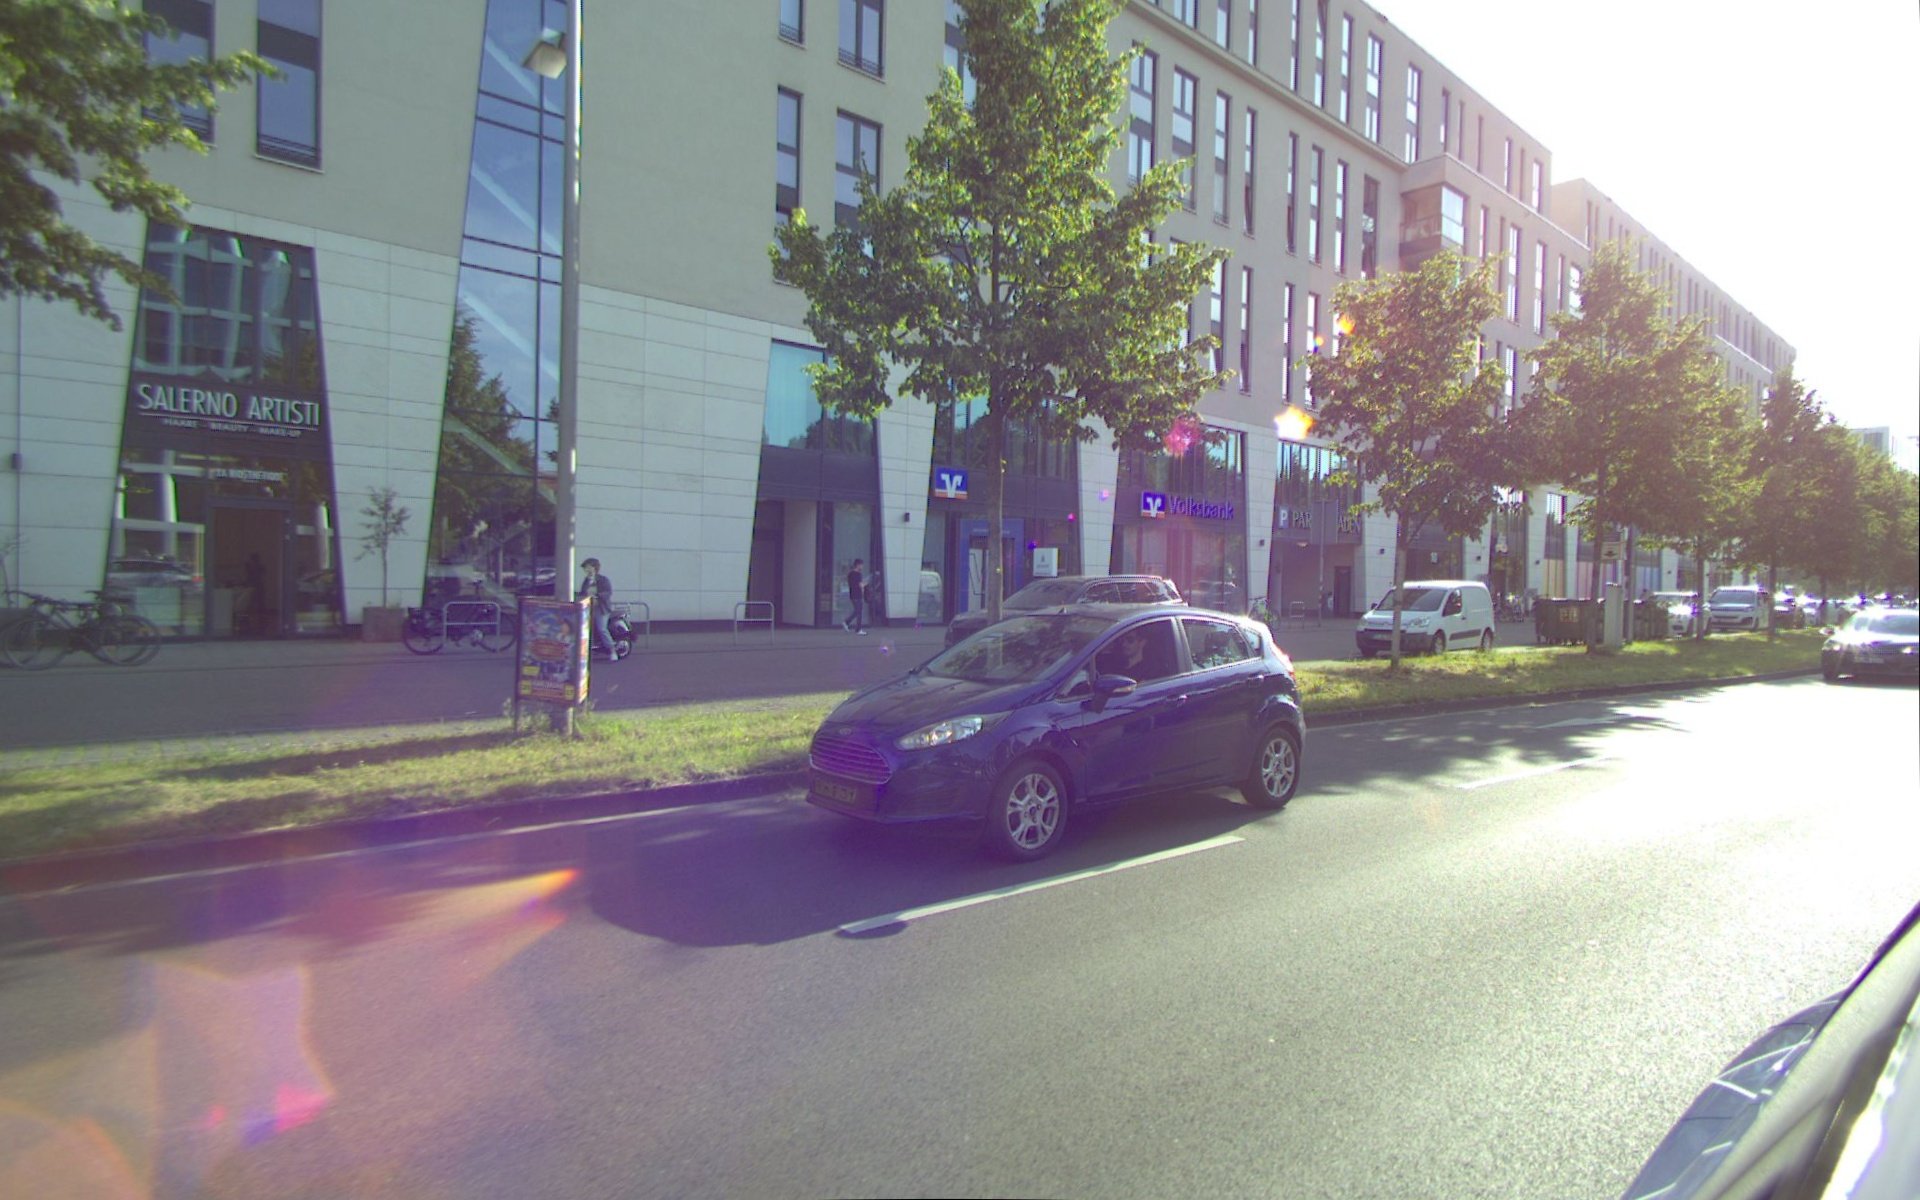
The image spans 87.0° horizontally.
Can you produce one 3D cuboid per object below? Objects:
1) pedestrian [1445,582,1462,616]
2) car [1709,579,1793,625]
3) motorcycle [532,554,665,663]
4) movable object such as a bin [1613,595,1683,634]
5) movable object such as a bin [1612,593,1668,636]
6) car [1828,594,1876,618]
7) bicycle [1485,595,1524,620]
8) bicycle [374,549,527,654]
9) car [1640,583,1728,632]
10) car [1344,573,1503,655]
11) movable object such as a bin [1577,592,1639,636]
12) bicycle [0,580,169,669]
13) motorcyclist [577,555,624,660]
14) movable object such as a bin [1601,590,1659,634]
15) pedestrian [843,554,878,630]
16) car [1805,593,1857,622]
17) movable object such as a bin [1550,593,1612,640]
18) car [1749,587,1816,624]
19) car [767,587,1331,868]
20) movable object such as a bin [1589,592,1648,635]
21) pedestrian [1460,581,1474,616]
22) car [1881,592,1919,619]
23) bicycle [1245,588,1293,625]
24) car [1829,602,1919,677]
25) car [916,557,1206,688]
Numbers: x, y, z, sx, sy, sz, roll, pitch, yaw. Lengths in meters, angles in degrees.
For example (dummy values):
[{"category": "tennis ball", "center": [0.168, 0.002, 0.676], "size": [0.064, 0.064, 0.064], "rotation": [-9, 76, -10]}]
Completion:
[{"category": "pedestrian", "center": [22.636, -0.069, 46.421], "size": [0.587, 1.541, 0.514], "rotation": [0, 0, -41]}, {"category": "car", "center": [34.377, 0.074, 43.940], "size": [4.941, 1.900, 1.841], "rotation": [-1, 0, -39]}, {"category": "motorcycle", "center": [-5.880, 0.093, 16.564], "size": [0.699, 1.636, 1.987], "rotation": [6, 5, 34]}, {"category": "movable object such as a bin", "center": [22.837, 0.466, 33.617], "size": [1.307, 1.252, 1.405], "rotation": [0, 0, -13]}, {"category": "movable object such as a bin", "center": [21.858, 0.448, 32.513], "size": [1.172, 1.318, 1.278], "rotation": [0, 0, -44]}, {"category": "car", "center": [55.585, 0.369, 63.042], "size": [4.043, 1.450, 1.731], "rotation": [-1, 0, -42]}, {"category": "bicycle", "center": [24.053, 0.320, 44.726], "size": [1.485, 1.088, 0.348], "rotation": [0, 0, 2]}, {"category": "bicycle", "center": [-8.336, 0.010, 16.638], "size": [2.173, 1.639, 0.556], "rotation": [-1, 0, -40]}, {"category": "car", "center": [26.778, 0.240, 37.392], "size": [4.769, 1.650, 1.732], "rotation": [0, 2, -43]}, {"category": "car", "center": [10.852, 0.276, 23.554], "size": [4.222, 1.733, 1.830], "rotation": [-1, 0, -42]}, {"category": "movable object such as a bin", "center": [19.028, 0.397, 29.717], "size": [1.172, 1.252, 1.278], "rotation": [0, 0, -44]}, {"category": "bicycle", "center": [-11.705, 0.299, 13.446], "size": [1.871, 1.097, 0.635], "rotation": [-1, 3, -40]}, {"category": "motorcyclist", "center": [-5.893, 0.108, 16.581], "size": [0.622, 1.660, 0.412], "rotation": [4, 3, 37]}, {"category": "movable object such as a bin", "center": [20.924, 0.361, 31.602], "size": [1.172, 1.334, 1.278], "rotation": [0, 0, -44]}, {"category": "pedestrian", "center": [-2.361, -0.191, 23.998], "size": [0.635, 1.785, 0.538], "rotation": [0, 0, -40]}, {"category": "car", "center": [44.521, 0.367, 51.710], "size": [4.098, 1.430, 1.617], "rotation": [-1, 0, -43]}, {"category": "movable object such as a bin", "center": [17.908, 0.462, 29.180], "size": [1.159, 1.307, 1.278], "rotation": [0, 0, -44]}, {"category": "car", "center": [39.424, 0.223, 48.492], "size": [4.262, 1.671, 1.732], "rotation": [-1, 0, -40]}, {"category": "car", "center": [0.765, 0.664, 6.986], "size": [3.835, 1.442, 1.564], "rotation": [0, 0, -37]}, {"category": "movable object such as a bin", "center": [19.940, 0.393, 30.654], "size": [1.172, 1.252, 1.278], "rotation": [0, 0, -44]}, {"category": "pedestrian", "center": [23.027, -0.081, 45.955], "size": [0.510, 1.594, 0.534], "rotation": [0, 0, 29]}, {"category": "car", "center": [68.620, 0.395, 73.643], "size": [4.760, 1.898, 1.897], "rotation": [-1, 0, -41]}, {"category": "bicycle", "center": [9.826, 0.177, 32.189], "size": [1.911, 1.130, 0.493], "rotation": [-1, 2, -41]}, {"category": "car", "center": [20.220, 0.789, 21.629], "size": [3.964, 1.442, 1.699], "rotation": [-1, 0, -37]}, {"category": "car", "center": [1.690, 0.318, 15.686], "size": [4.597, 1.730, 1.899], "rotation": [1, -1, -42]}]
